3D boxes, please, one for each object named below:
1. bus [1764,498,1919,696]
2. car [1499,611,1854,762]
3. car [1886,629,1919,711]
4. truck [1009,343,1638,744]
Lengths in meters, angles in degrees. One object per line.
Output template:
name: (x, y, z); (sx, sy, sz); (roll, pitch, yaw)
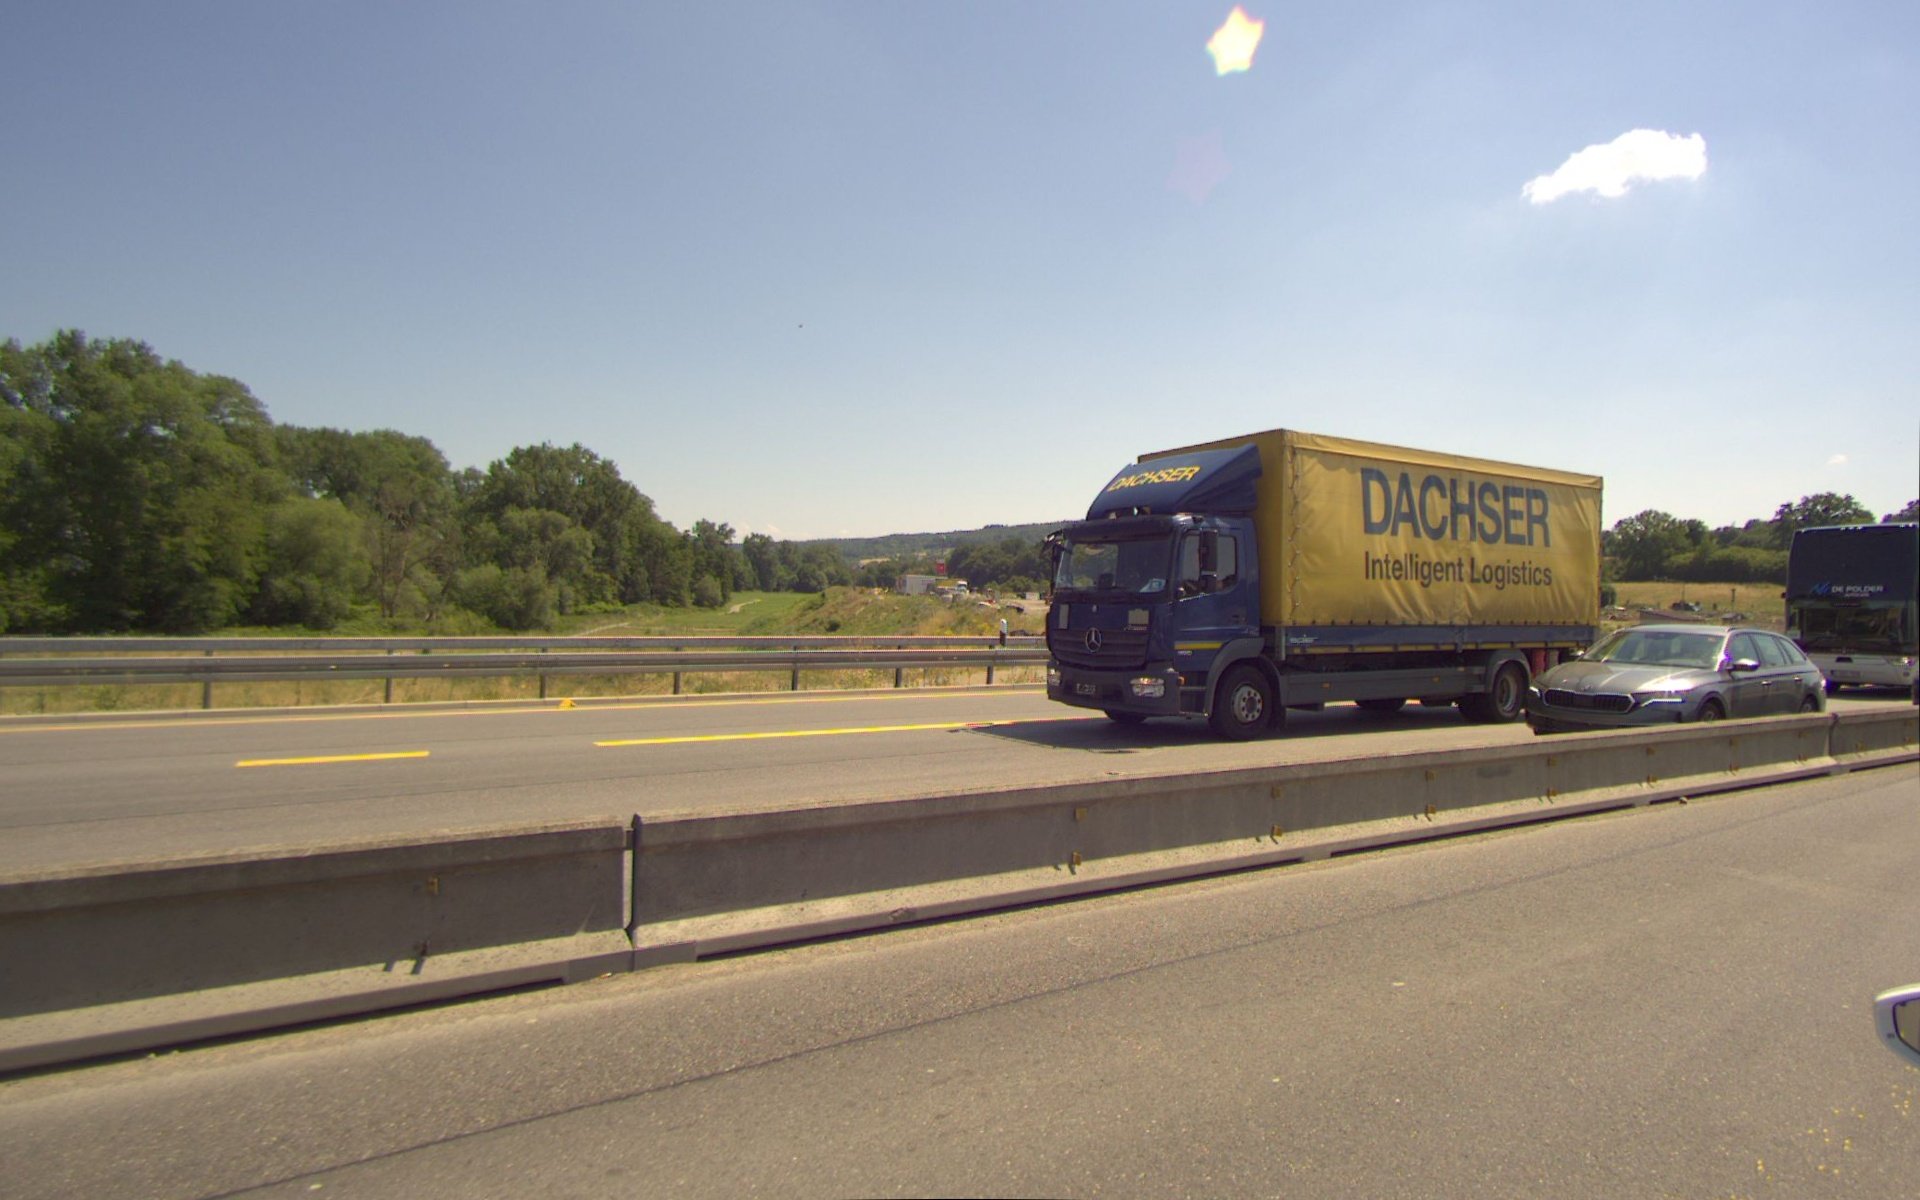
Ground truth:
bus: (26.285, 0.111, 26.975); (14.315, 4.320, 2.724); (2, 0, -32)
car: (8.781, 0.940, 12.180); (4.851, 1.513, 1.849); (1, -2, -33)
car: (19.719, 1.310, 19.135); (4.874, 1.463, 1.828); (1, 1, -32)
truck: (5.630, -0.439, 14.336); (9.964, 4.207, 2.788); (2, -1, -31)
